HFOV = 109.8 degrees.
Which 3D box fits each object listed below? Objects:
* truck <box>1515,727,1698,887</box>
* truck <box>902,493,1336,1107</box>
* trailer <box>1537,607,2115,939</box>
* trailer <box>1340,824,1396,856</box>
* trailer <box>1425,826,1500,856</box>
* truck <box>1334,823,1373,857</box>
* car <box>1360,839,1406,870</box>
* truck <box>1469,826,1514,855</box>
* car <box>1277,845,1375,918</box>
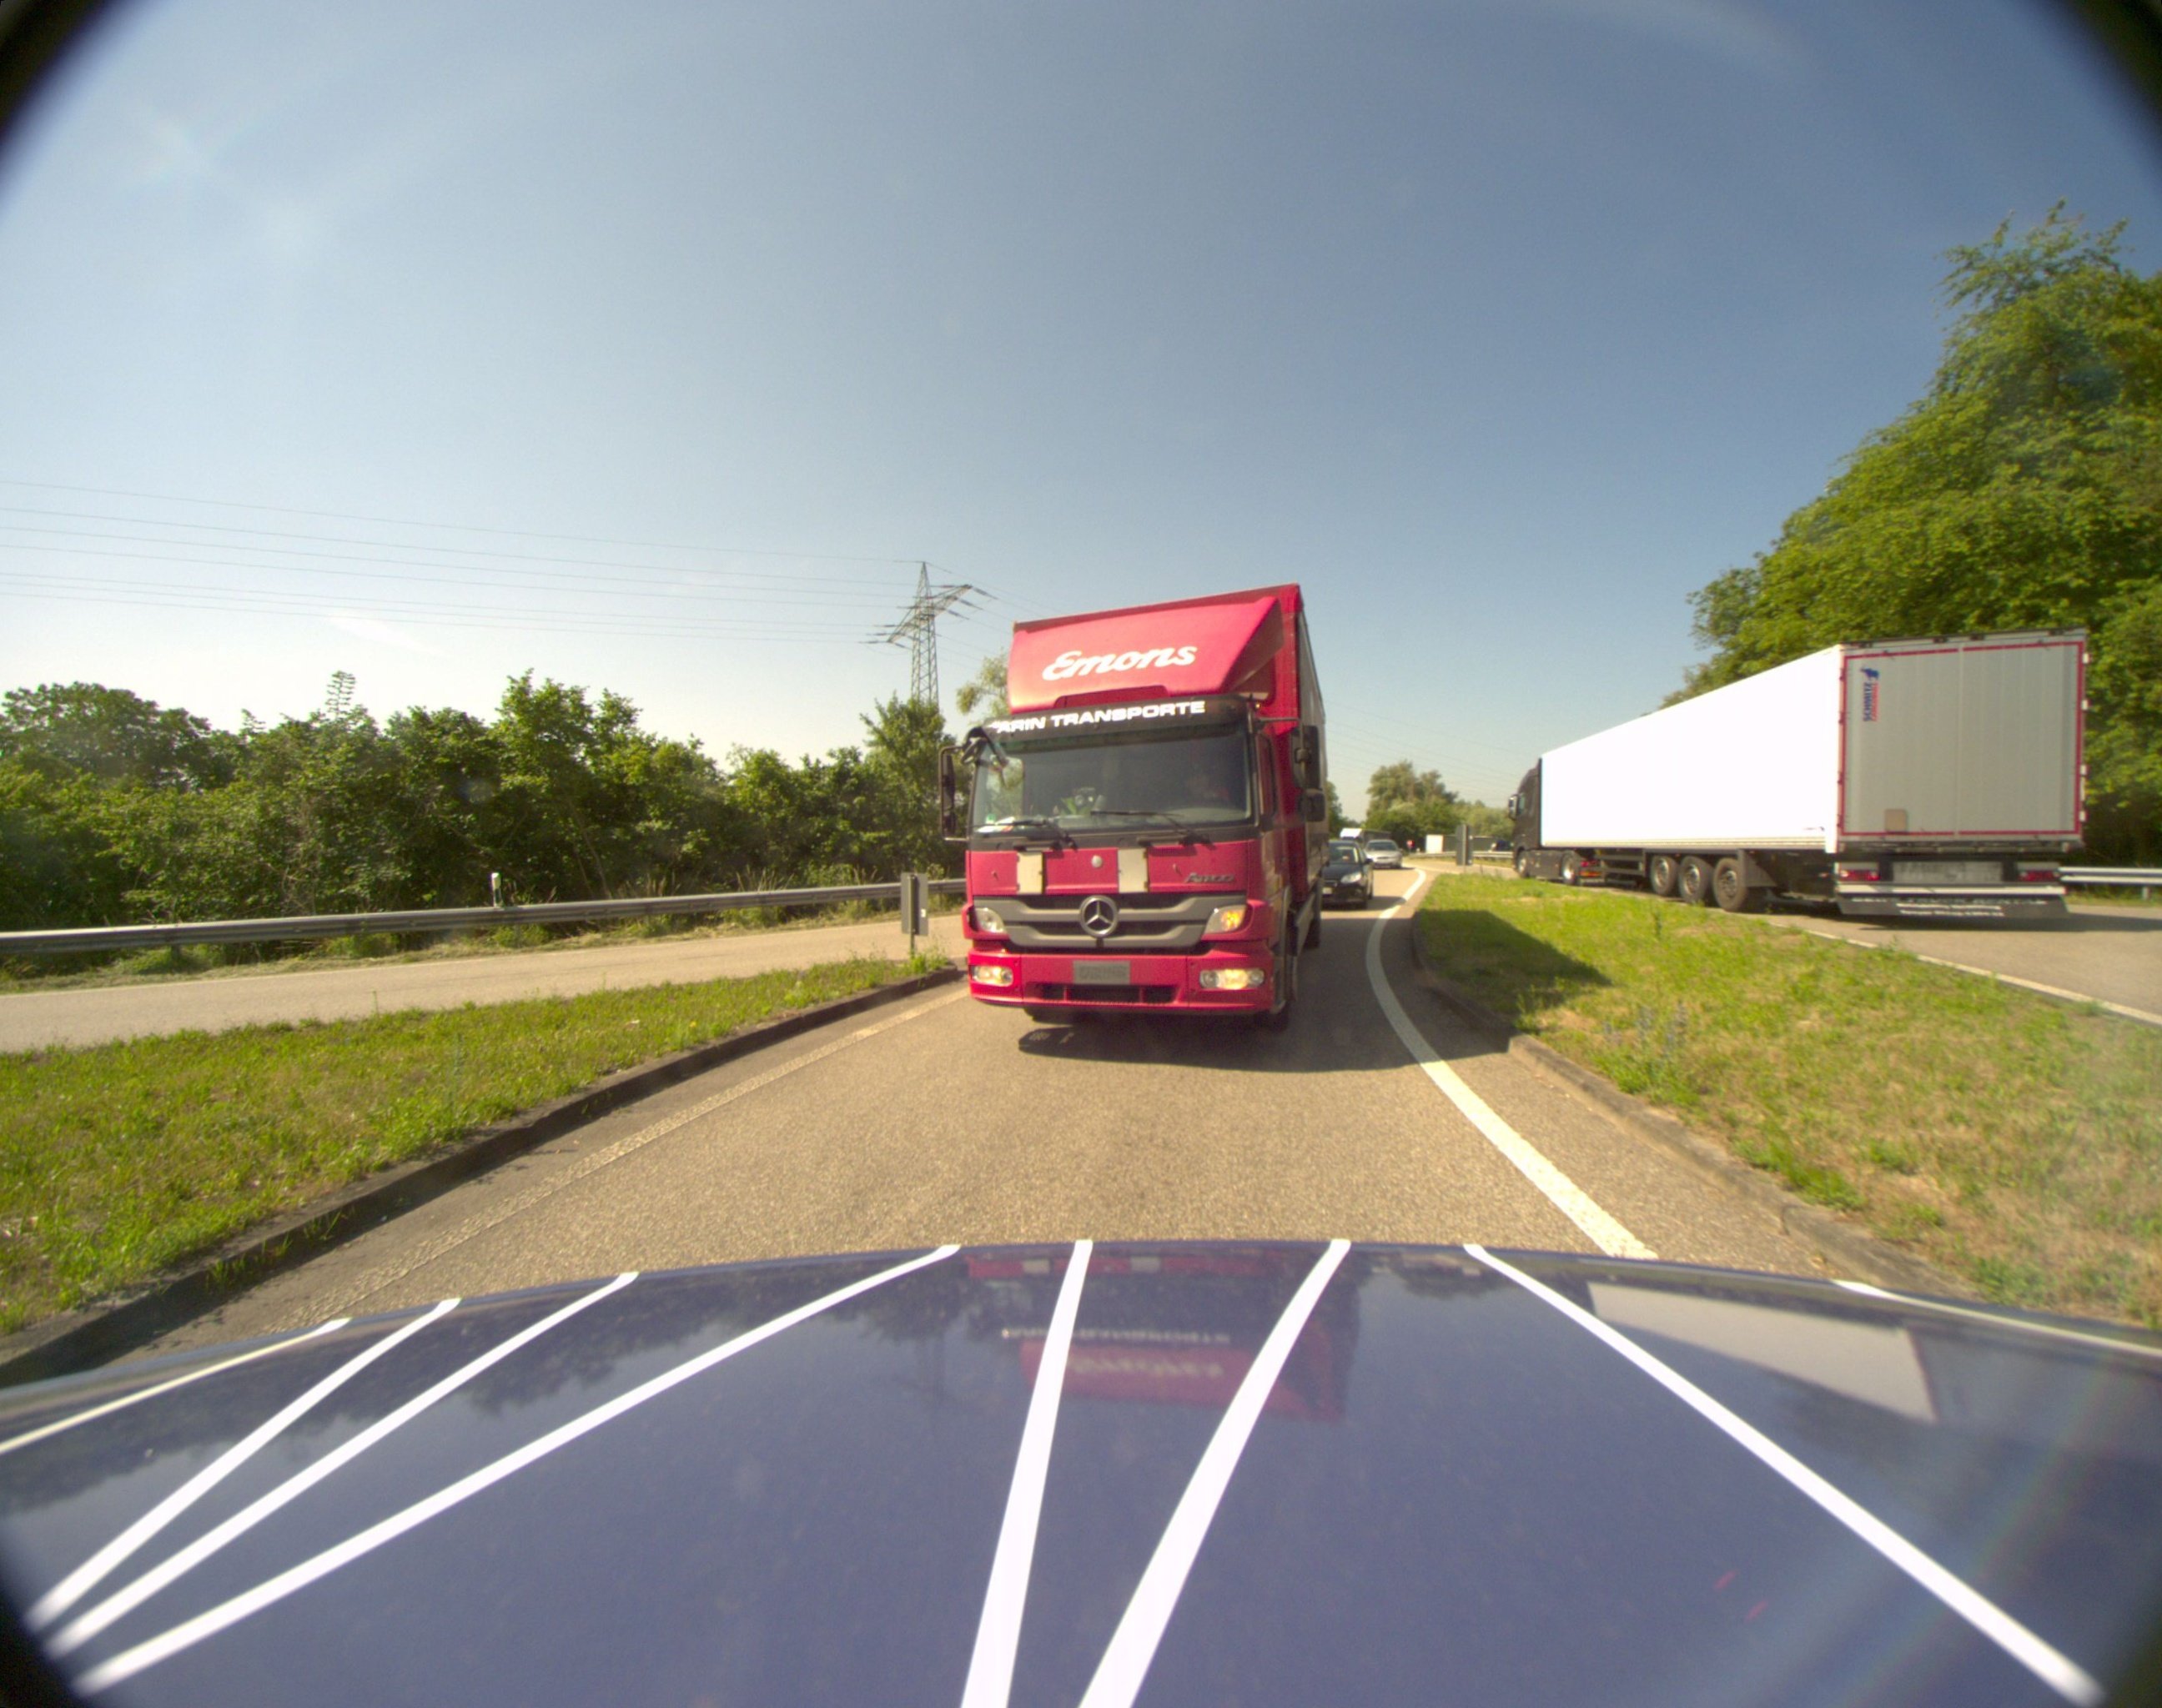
[{"bbox_3d":[15.556,-1.245,23.076,2.874,4.149,5.977,-1,1,17],"label":"truck"},{"bbox_3d":[1.600,-0.385,9.325,2.685,3.641,9.273,-1,1,19],"label":"truck"},{"bbox_3d":[13.583,-1.108,16.600,2.890,4.141,13.996,-1,1,17],"label":"trailer"},{"bbox_3d":[39.553,-1.909,104.265,2.921,4.216,14.009,2,2,39],"label":"trailer"},{"bbox_3d":[56.905,-1.906,113.052,14.005,4.244,2.951,0,2,-32],"label":"trailer"},{"bbox_3d":[35.638,-1.832,99.247,2.932,4.214,5.744,2,2,38],"label":"truck"},{"bbox_3d":[14.554,-0.002,36.752,1.785,1.377,4.383,-1,1,18],"label":"car"},{"bbox_3d":[62.881,-2.078,116.430,5.739,4.223,2.934,0,2,-23],"label":"truck"},{"bbox_3d":[5.663,0.537,17.229,1.784,1.406,4.006,-1,1,22],"label":"car"}]
